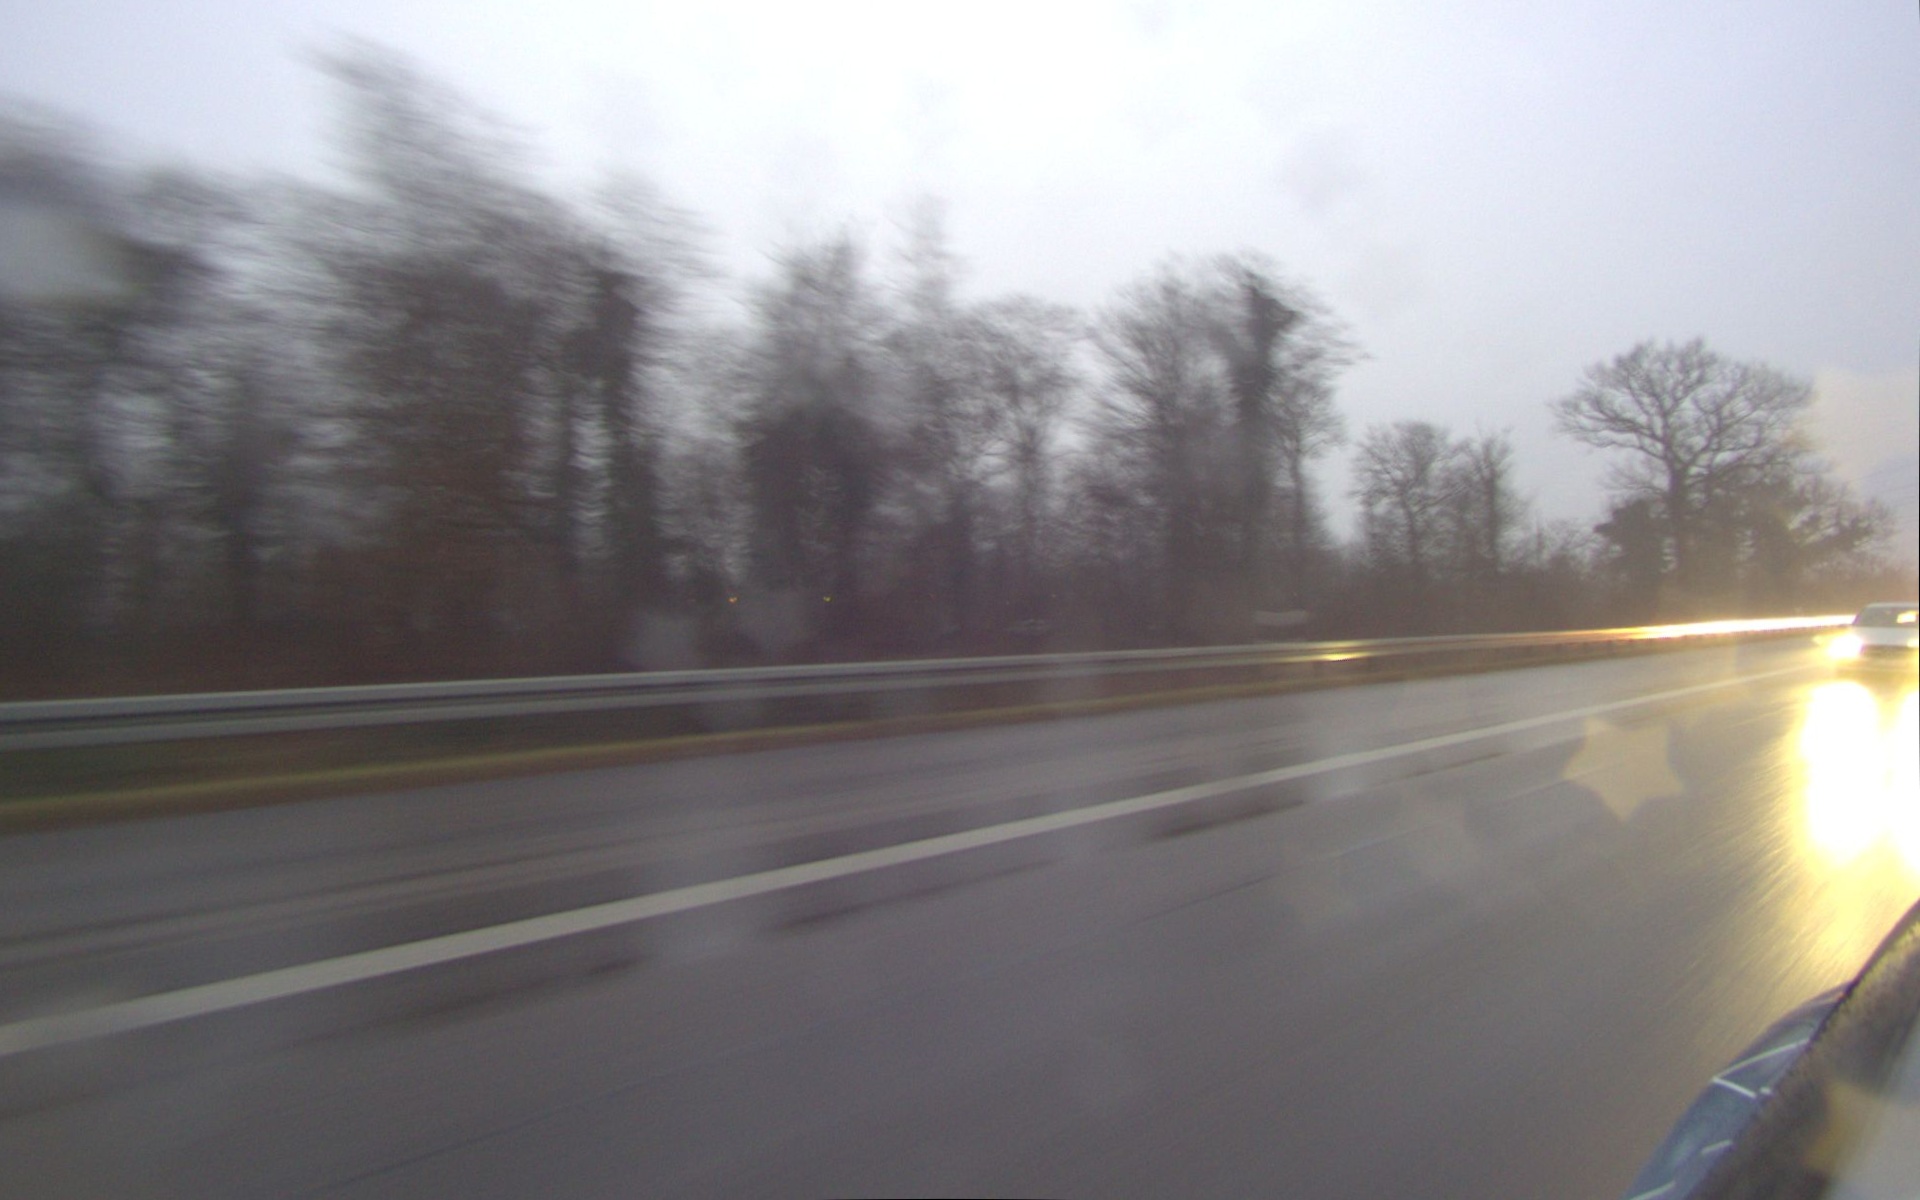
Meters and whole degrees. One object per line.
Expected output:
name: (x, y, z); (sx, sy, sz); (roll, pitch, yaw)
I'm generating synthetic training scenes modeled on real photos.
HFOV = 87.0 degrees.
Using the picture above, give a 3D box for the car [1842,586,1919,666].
car: (19.660, 0.504, 20.819); (3.744, 1.536, 1.789); (0, 0, -41)

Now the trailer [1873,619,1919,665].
trailer: (22.152, 0.949, 23.005); (2.899, 0.937, 1.751); (0, 0, -41)
